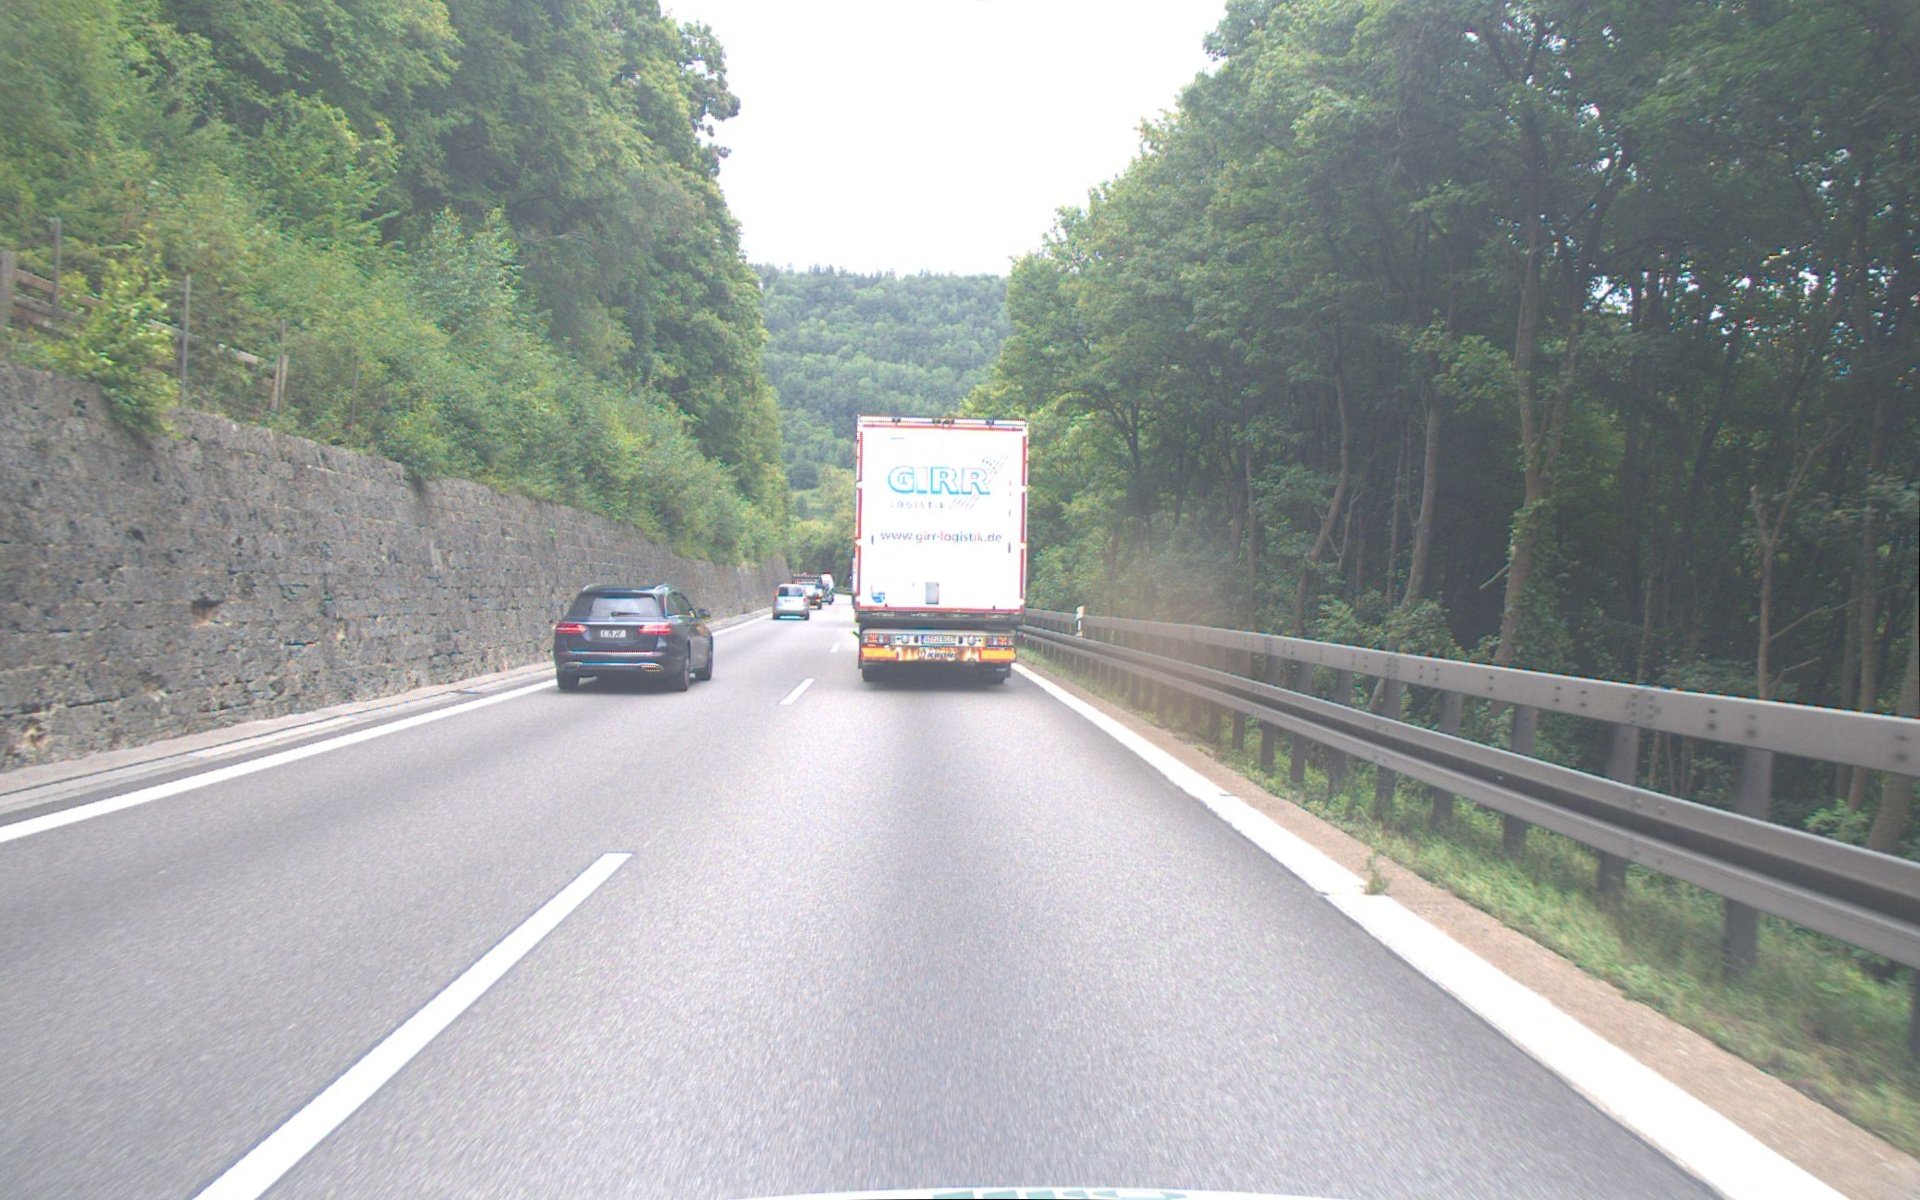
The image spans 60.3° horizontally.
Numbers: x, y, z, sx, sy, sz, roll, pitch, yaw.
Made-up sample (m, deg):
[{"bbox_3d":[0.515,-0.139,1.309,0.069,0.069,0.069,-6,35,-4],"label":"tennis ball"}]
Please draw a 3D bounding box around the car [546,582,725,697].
[{"bbox_3d":[-4.670,0.500,24.517,1.725,1.489,5.121,1,1,-1],"label":"car"}]

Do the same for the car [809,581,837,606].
[{"bbox_3d":[-11.567,-0.596,139.777,1.978,1.947,5.561,3,0,-2],"label":"car"}]

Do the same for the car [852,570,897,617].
[{"bbox_3d":[-4.004,-0.302,78.245,1.954,2.048,4.331,3,0,-2],"label":"car"}]

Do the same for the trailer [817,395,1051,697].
[{"bbox_3d":[-0.587,-0.836,28.561,3.071,4.112,9.434,4,0,-3],"label":"trailer"}]

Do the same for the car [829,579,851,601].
[{"bbox_3d":[-11.762,-0.970,162.031,1.954,2.048,3.996,3,0,-4],"label":"car"}]

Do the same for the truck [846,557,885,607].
[{"bbox_3d":[-8.069,-1.459,140.469,3.008,3.944,8.451,3,0,-4],"label":"truck"}]

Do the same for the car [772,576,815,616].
[{"bbox_3d":[-7.761,-0.204,77.269,1.601,1.756,4.343,2,0,-2],"label":"car"}]

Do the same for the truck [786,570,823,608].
[{"bbox_3d":[-10.326,-0.745,110.189,2.303,2.313,6.842,3,0,-5],"label":"truck"}]

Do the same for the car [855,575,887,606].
[{"bbox_3d":[-6.263,-0.688,116.512,1.955,2.048,3.995,3,0,-6],"label":"car"}]

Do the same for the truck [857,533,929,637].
[{"bbox_3d":[-2.779,-0.569,66.832,2.191,3.870,6.813,3,0,-7],"label":"truck"}]
